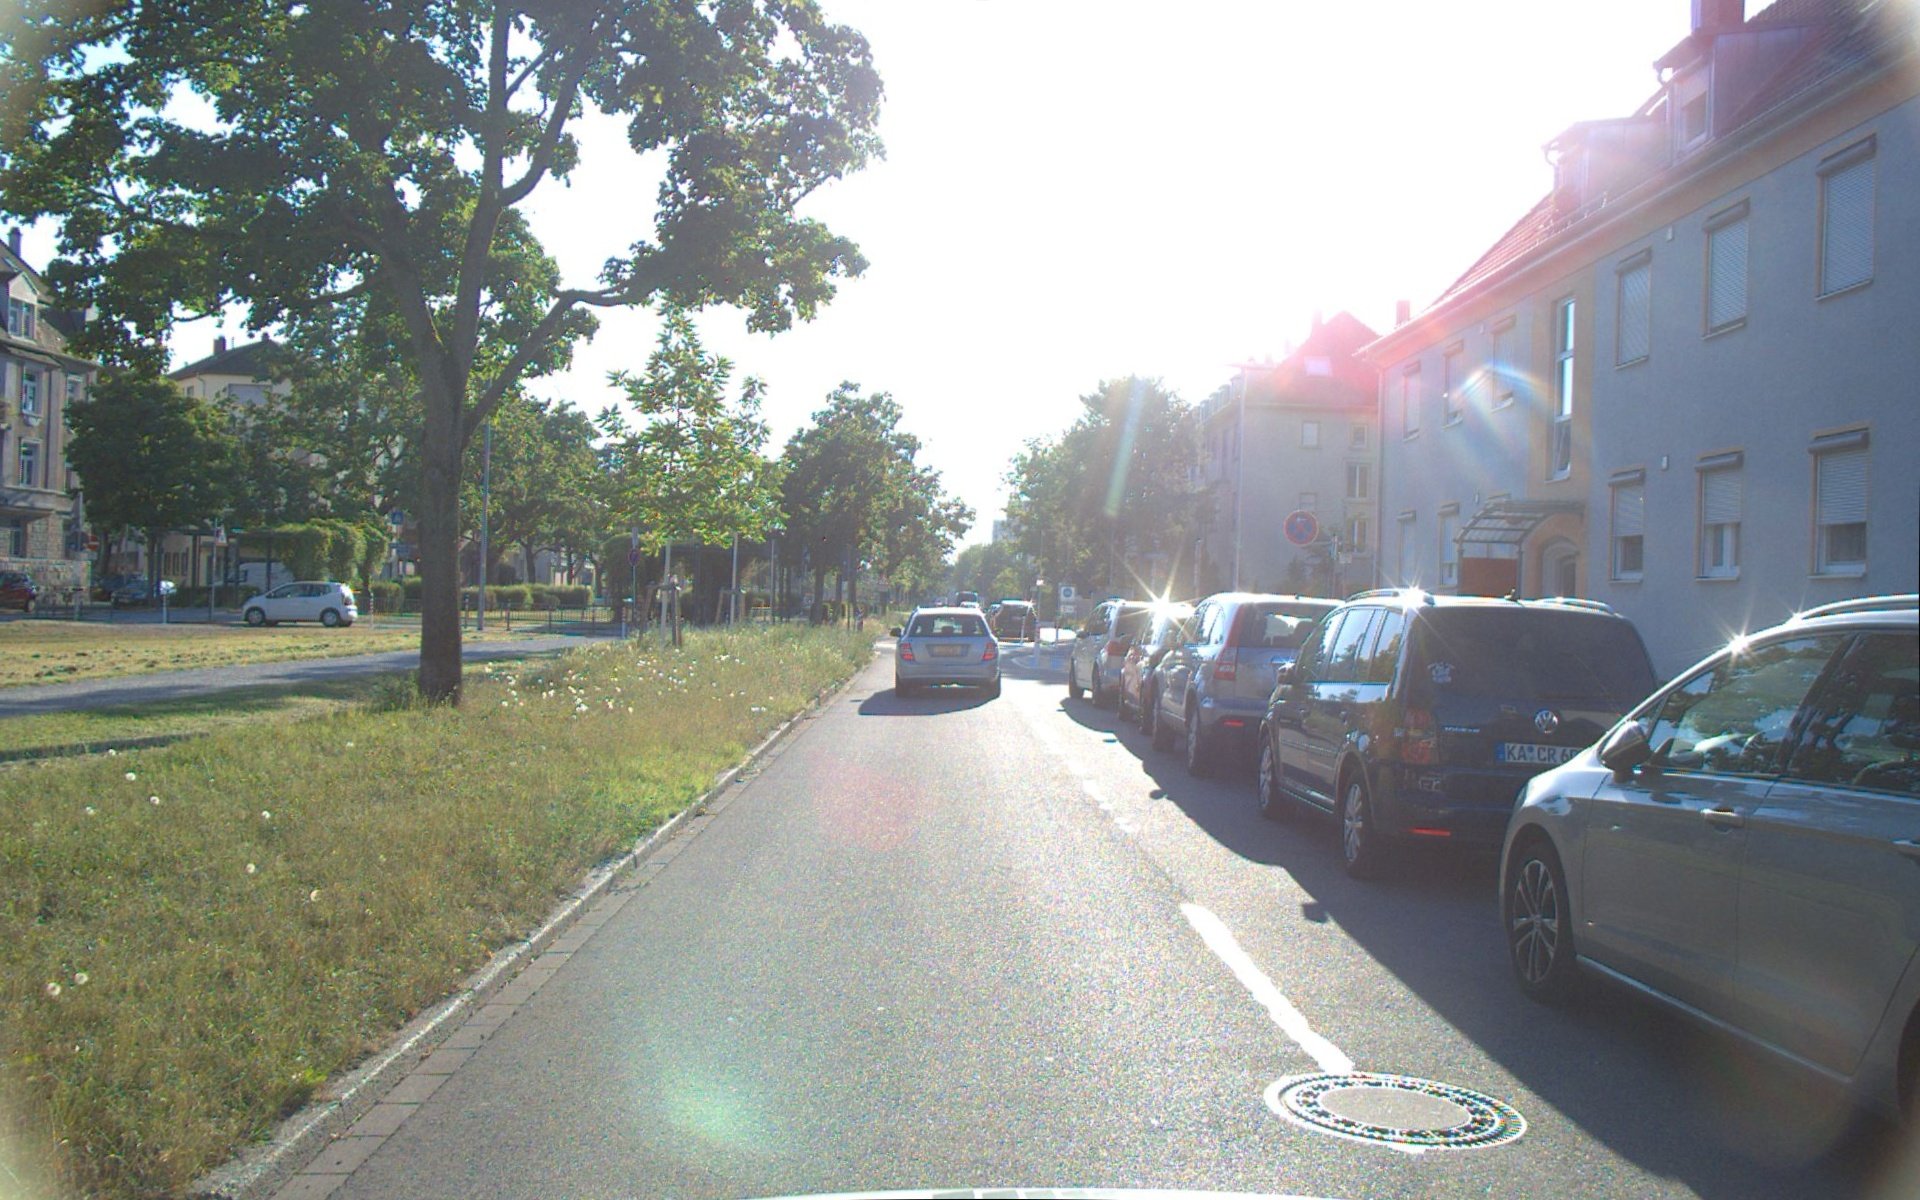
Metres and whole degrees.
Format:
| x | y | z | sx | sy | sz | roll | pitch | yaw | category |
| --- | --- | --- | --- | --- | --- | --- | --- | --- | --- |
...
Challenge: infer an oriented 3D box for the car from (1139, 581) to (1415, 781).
| x | y | z | sx | sy | sz | roll | pitch | yaw | category |
| --- | --- | --- | --- | --- | --- | --- | --- | --- | --- |
| 2.971 | 0.711 | 16.524 | 1.741 | 1.672 | 4.755 | 1 | 0 | -1 | car |

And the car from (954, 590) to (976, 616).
| x | y | z | sx | sy | sz | roll | pitch | yaw | category |
| --- | --- | --- | --- | --- | --- | --- | --- | --- | --- |
| 0.413 | 0.240 | 146.848 | 1.823 | 2.231 | 5.069 | 2 | 0 | 0 | car |

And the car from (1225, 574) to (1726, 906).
| x | y | z | sx | sy | sz | roll | pitch | yaw | category |
| --- | --- | --- | --- | --- | --- | --- | --- | --- | --- |
| 3.100 | 0.766 | 11.089 | 1.730 | 1.663 | 4.763 | 3 | -1 | -1 | car |

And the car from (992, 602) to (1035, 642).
| x | y | z | sx | sy | sz | roll | pitch | yaw | category |
| --- | --- | --- | --- | --- | --- | --- | --- | --- | --- |
| 2.264 | 0.944 | 70.598 | 1.686 | 1.625 | 3.999 | 1 | -1 | 0 | car |

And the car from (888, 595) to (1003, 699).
| x | y | z | sx | sy | sz | roll | pitch | yaw | category |
| --- | --- | --- | --- | --- | --- | --- | --- | --- | --- |
| -0.229 | 0.727 | 27.904 | 1.786 | 1.594 | 4.000 | 0 | 0 | 0 | car |

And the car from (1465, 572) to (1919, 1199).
| x | y | z | sx | sy | sz | roll | pitch | yaw | category |
| --- | --- | --- | --- | --- | --- | --- | --- | --- | --- |
| 3.220 | 0.754 | 5.123 | 1.690 | 1.588 | 4.413 | 2 | 0 | -4 | car |

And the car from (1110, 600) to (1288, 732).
| x | y | z | sx | sy | sz | roll | pitch | yaw | category |
| --- | --- | --- | --- | --- | --- | --- | --- | --- | --- |
| 3.004 | 0.783 | 21.462 | 1.694 | 1.553 | 3.733 | 0 | 0 | -1 | car |

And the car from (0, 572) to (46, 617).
| x | y | z | sx | sy | sz | roll | pitch | yaw | category |
| --- | --- | --- | --- | --- | --- | --- | --- | --- | --- |
| -39.241 | -0.224 | 67.359 | 1.610 | 1.737 | 4.293 | -2 | -1 | 1 | car |

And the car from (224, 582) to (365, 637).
| x | y | z | sx | sy | sz | roll | pitch | yaw | category |
| --- | --- | --- | --- | --- | --- | --- | --- | --- | --- |
| -21.884 | 0.317 | 54.490 | 3.816 | 1.624 | 1.999 | -2 | -1 | -3 | car |

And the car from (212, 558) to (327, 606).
| x | y | z | sx | sy | sz | roll | pitch | yaw | category |
| --- | --- | --- | --- | --- | --- | --- | --- | --- | --- |
| -42.192 | -1.091 | 101.175 | 6.231 | 2.767 | 1.982 | 1 | 0 | -32 | car |

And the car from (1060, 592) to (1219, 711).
| x | y | z | sx | sy | sz | roll | pitch | yaw | category |
| --- | --- | --- | --- | --- | --- | --- | --- | --- | --- |
| 2.798 | 0.760 | 26.715 | 1.683 | 1.667 | 4.560 | 3 | 0 | -4 | car |

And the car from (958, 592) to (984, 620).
| x | y | z | sx | sy | sz | roll | pitch | yaw | category |
| --- | --- | --- | --- | --- | --- | --- | --- | --- | --- |
| 0.817 | 0.449 | 128.732 | 1.948 | 2.059 | 4.000 | 2 | 0 | 0 | car |
